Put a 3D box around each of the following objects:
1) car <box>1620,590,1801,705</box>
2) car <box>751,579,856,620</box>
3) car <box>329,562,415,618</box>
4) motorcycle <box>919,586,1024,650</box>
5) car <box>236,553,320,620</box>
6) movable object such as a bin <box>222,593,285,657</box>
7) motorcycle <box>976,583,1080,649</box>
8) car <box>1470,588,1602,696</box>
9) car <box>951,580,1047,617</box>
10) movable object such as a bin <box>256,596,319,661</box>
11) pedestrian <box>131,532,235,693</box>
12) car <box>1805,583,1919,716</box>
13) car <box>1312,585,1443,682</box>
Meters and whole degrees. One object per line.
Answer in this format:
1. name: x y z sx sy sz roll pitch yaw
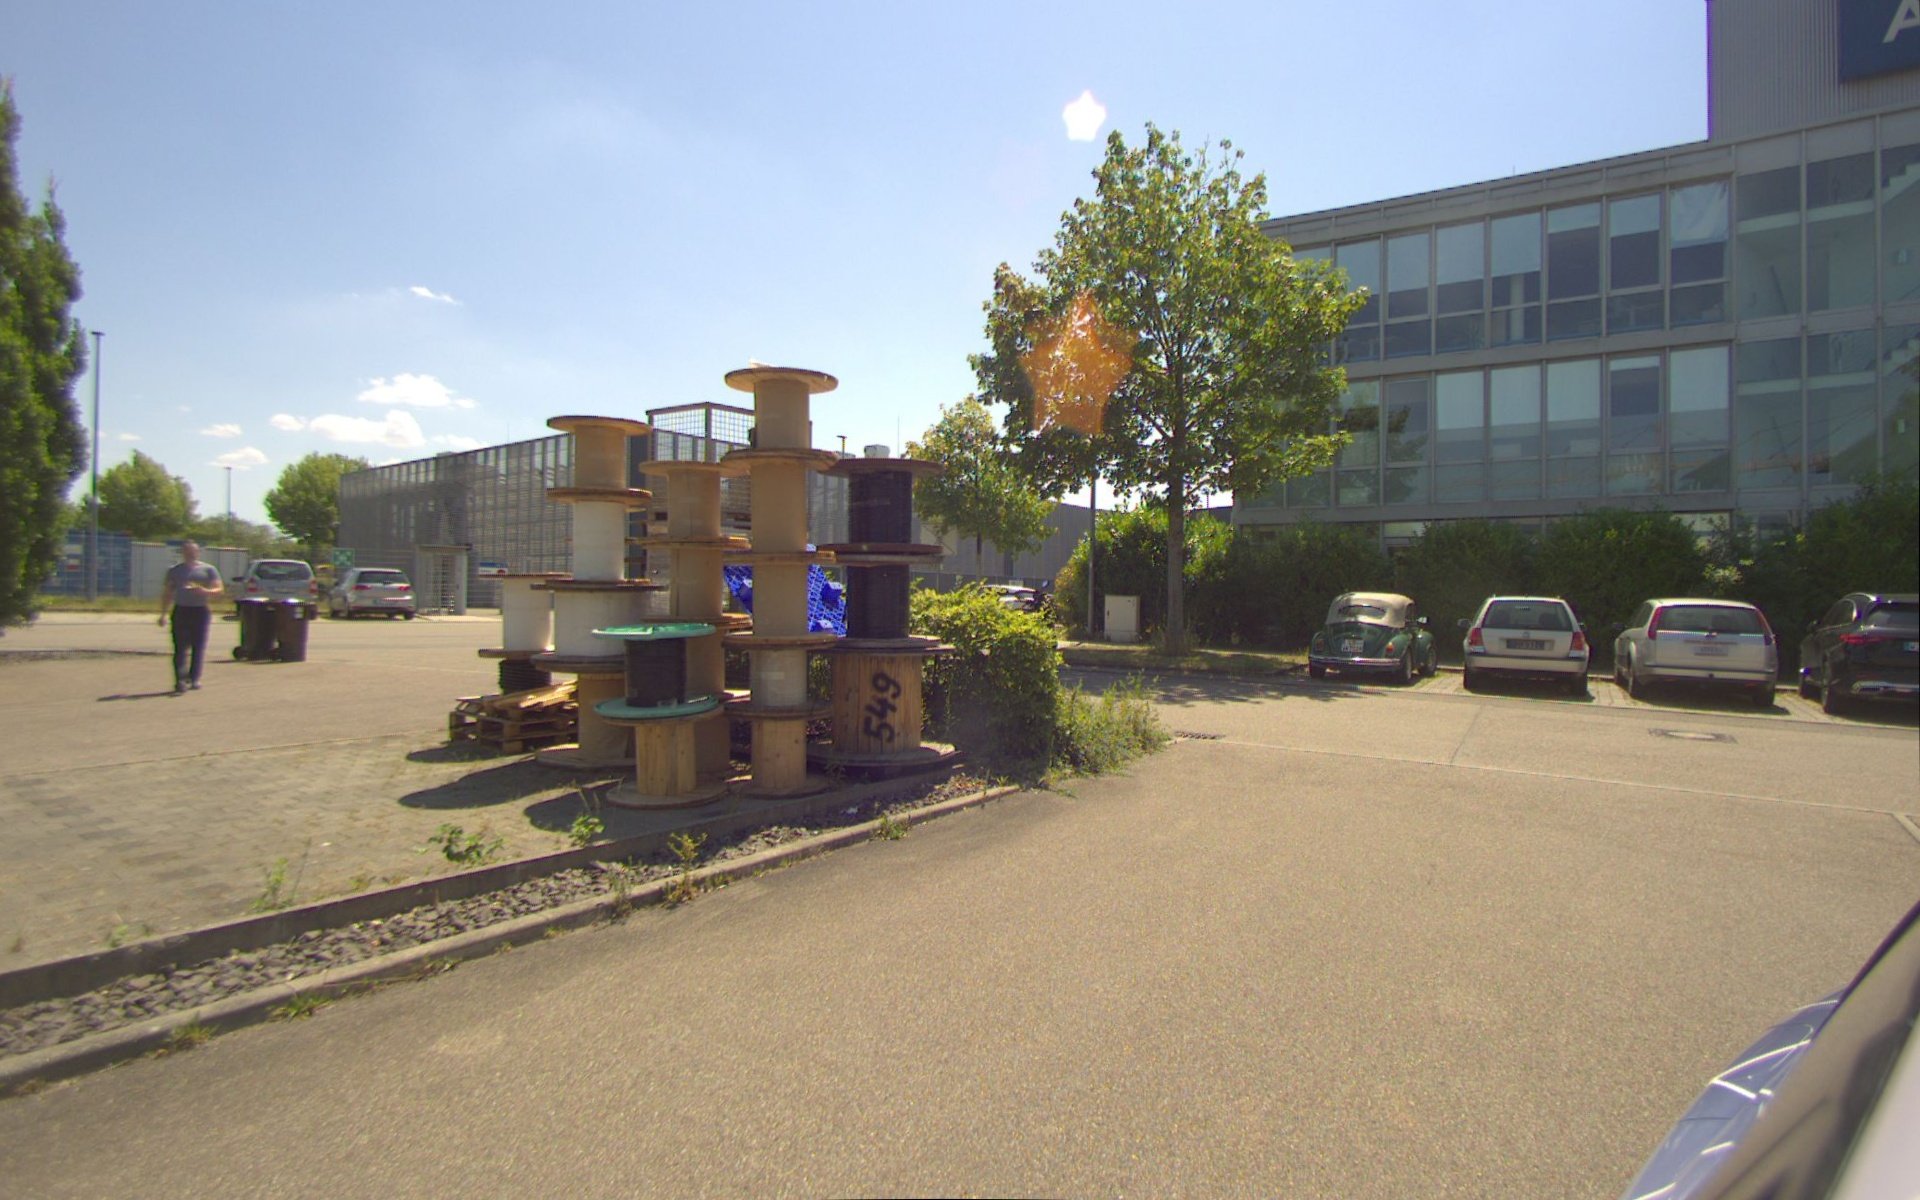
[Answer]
1. car: 11.328 0.616 15.523 1.717 1.470 3.564 2 2 29
2. car: -5.892 -0.042 37.721 1.827 1.427 4.440 0 1 -40
3. car: -17.228 -0.309 29.577 1.816 1.515 4.000 1 1 -35
4. motorcycle: 0.292 0.347 21.840 0.868 1.275 2.801 1 1 34
5. car: -19.028 -0.392 28.188 1.816 1.727 4.000 1 1 -35
6. movable object such as a bin: -10.756 0.374 15.410 0.576 0.929 0.546 1 1 12
7. motorcycle: 1.475 0.298 21.222 0.868 1.275 2.801 1 1 34
8. car: 9.228 0.572 16.314 1.629 1.470 3.564 2 2 29
9. car: 1.614 -0.089 43.884 1.748 1.494 4.412 0 1 -37
10. movable object such as a bin: -10.133 0.419 15.260 0.576 0.929 0.546 1 1 12
11. pedestrian: -8.995 0.127 11.750 0.792 1.791 0.770 0 1 -24
12. car: 13.151 0.605 13.916 1.927 1.622 3.812 2 2 34
13. car: 7.298 0.489 17.524 1.512 1.463 3.380 2 2 32
